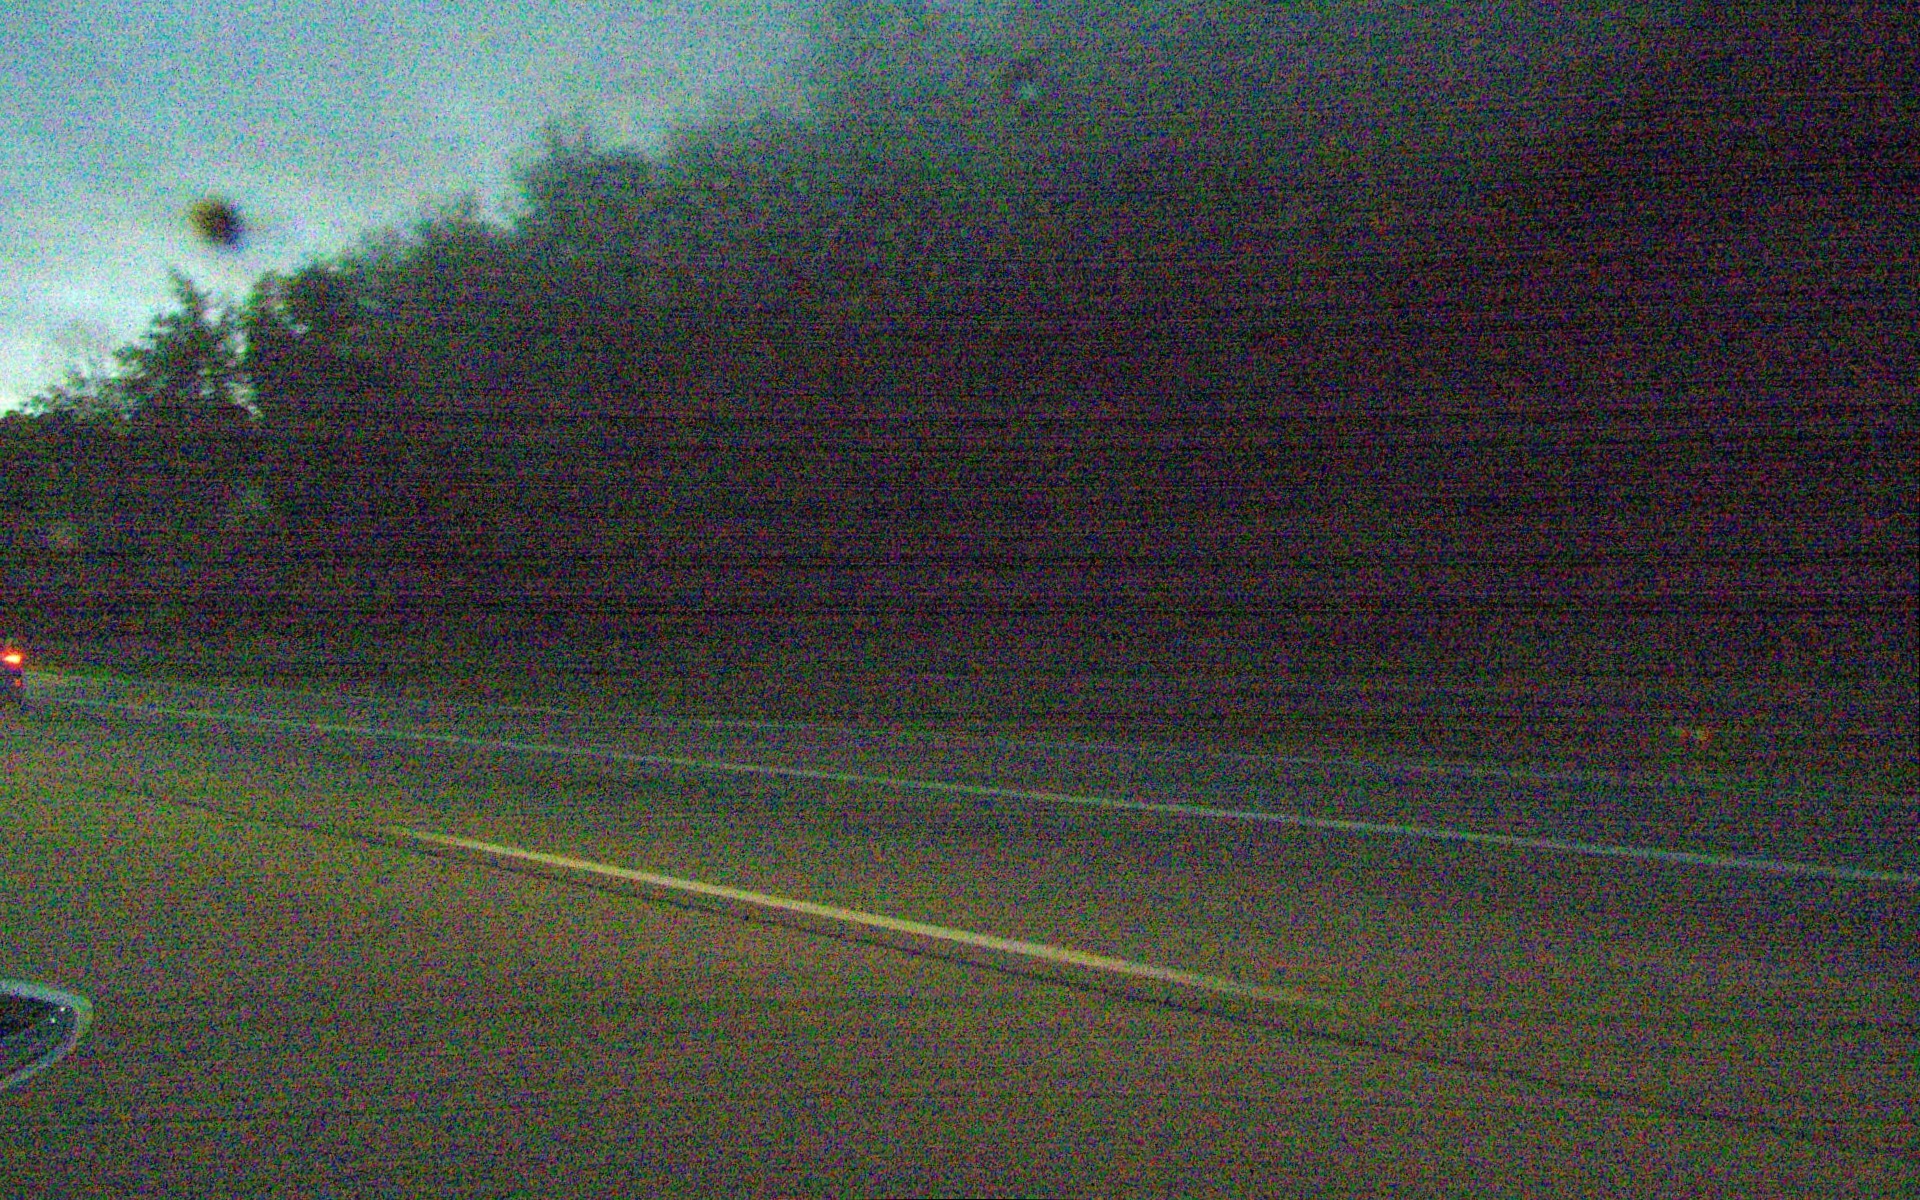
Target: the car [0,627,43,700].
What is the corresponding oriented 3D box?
[{"bbox_3d":[-21.386,1.301,21.217,4.520,1.454,1.861,-1,-1,34],"label":"car"}]
